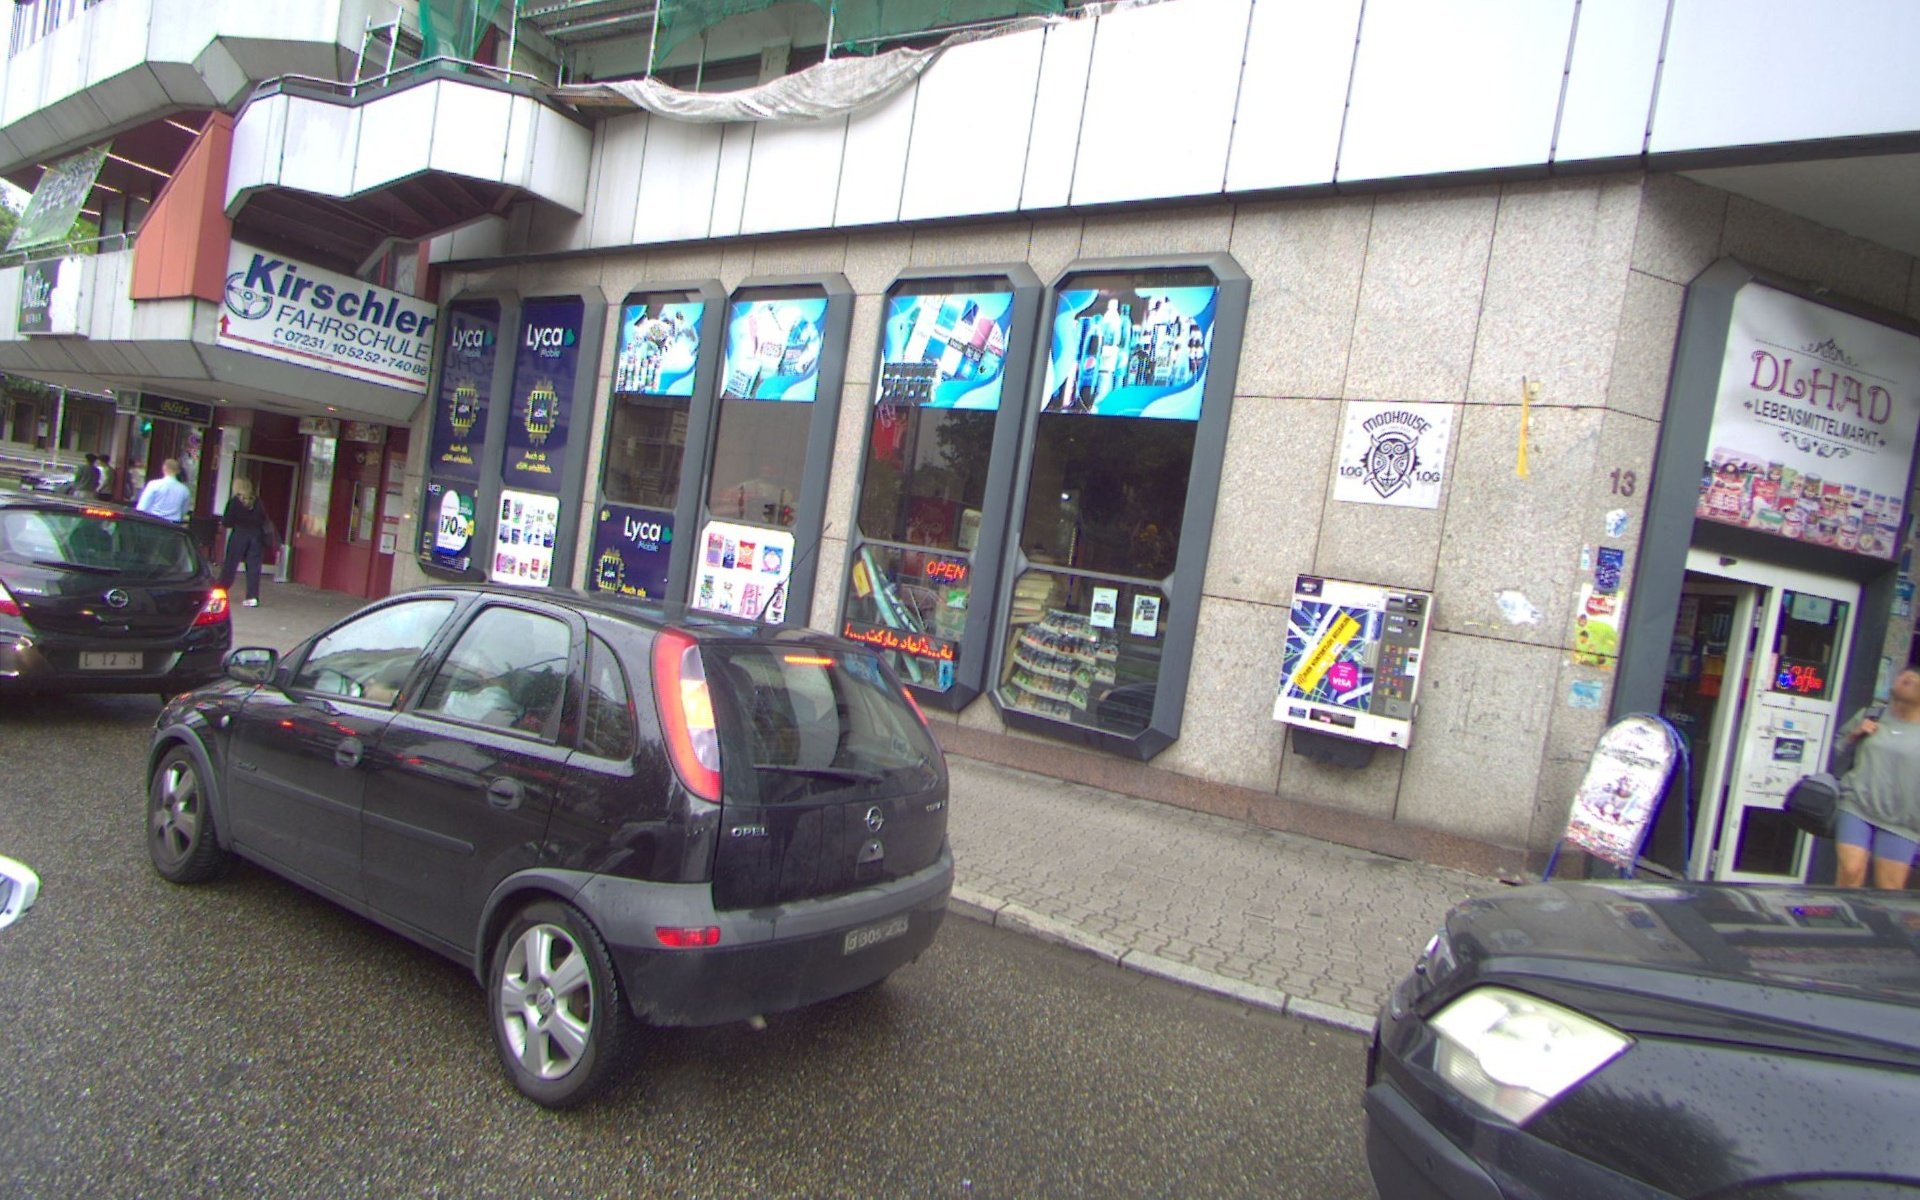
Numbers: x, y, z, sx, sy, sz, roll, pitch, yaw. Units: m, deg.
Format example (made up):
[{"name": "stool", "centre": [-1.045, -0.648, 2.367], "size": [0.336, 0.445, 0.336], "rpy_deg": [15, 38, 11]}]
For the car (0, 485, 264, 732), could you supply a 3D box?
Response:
[{"name": "car", "centre": [-7.060, -0.106, 7.355], "size": [3.776, 1.446, 1.620], "rpy_deg": [8, -1, 29]}]

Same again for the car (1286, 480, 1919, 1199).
[{"name": "car", "centre": [2.796, 0.992, 1.446], "size": [4.094, 1.786, 1.763], "rpy_deg": [8, -1, 31]}]

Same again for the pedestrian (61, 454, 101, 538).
[{"name": "pedestrian", "centre": [-18.625, -2.199, 21.313], "size": [0.443, 1.704, 0.426], "rpy_deg": [6, 1, 30]}]

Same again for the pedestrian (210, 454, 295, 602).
[{"name": "pedestrian", "centre": [-9.778, -0.979, 13.909], "size": [0.629, 1.961, 0.736], "rpy_deg": [6, 4, 31]}]

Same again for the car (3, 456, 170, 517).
[{"name": "car", "centre": [-28.042, -3.610, 32.395], "size": [1.808, 1.226, 3.690], "rpy_deg": [5, -3, 36]}]

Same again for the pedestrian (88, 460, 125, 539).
[{"name": "pedestrian", "centre": [-18.656, -2.185, 21.988], "size": [0.496, 1.660, 0.396], "rpy_deg": [6, 1, 32]}]

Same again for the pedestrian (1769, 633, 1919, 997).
[{"name": "pedestrian", "centre": [5.117, 1.139, 5.641], "size": [0.733, 1.841, 0.769], "rpy_deg": [7, 4, 40]}]

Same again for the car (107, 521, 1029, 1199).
[{"name": "car", "centre": [-1.741, 0.649, 4.115], "size": [3.563, 1.446, 1.609], "rpy_deg": [8, -1, 33]}]

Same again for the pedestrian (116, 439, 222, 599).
[{"name": "pedestrian", "centre": [-10.331, -1.049, 13.145], "size": [0.629, 1.957, 0.737], "rpy_deg": [6, -1, 31]}]
